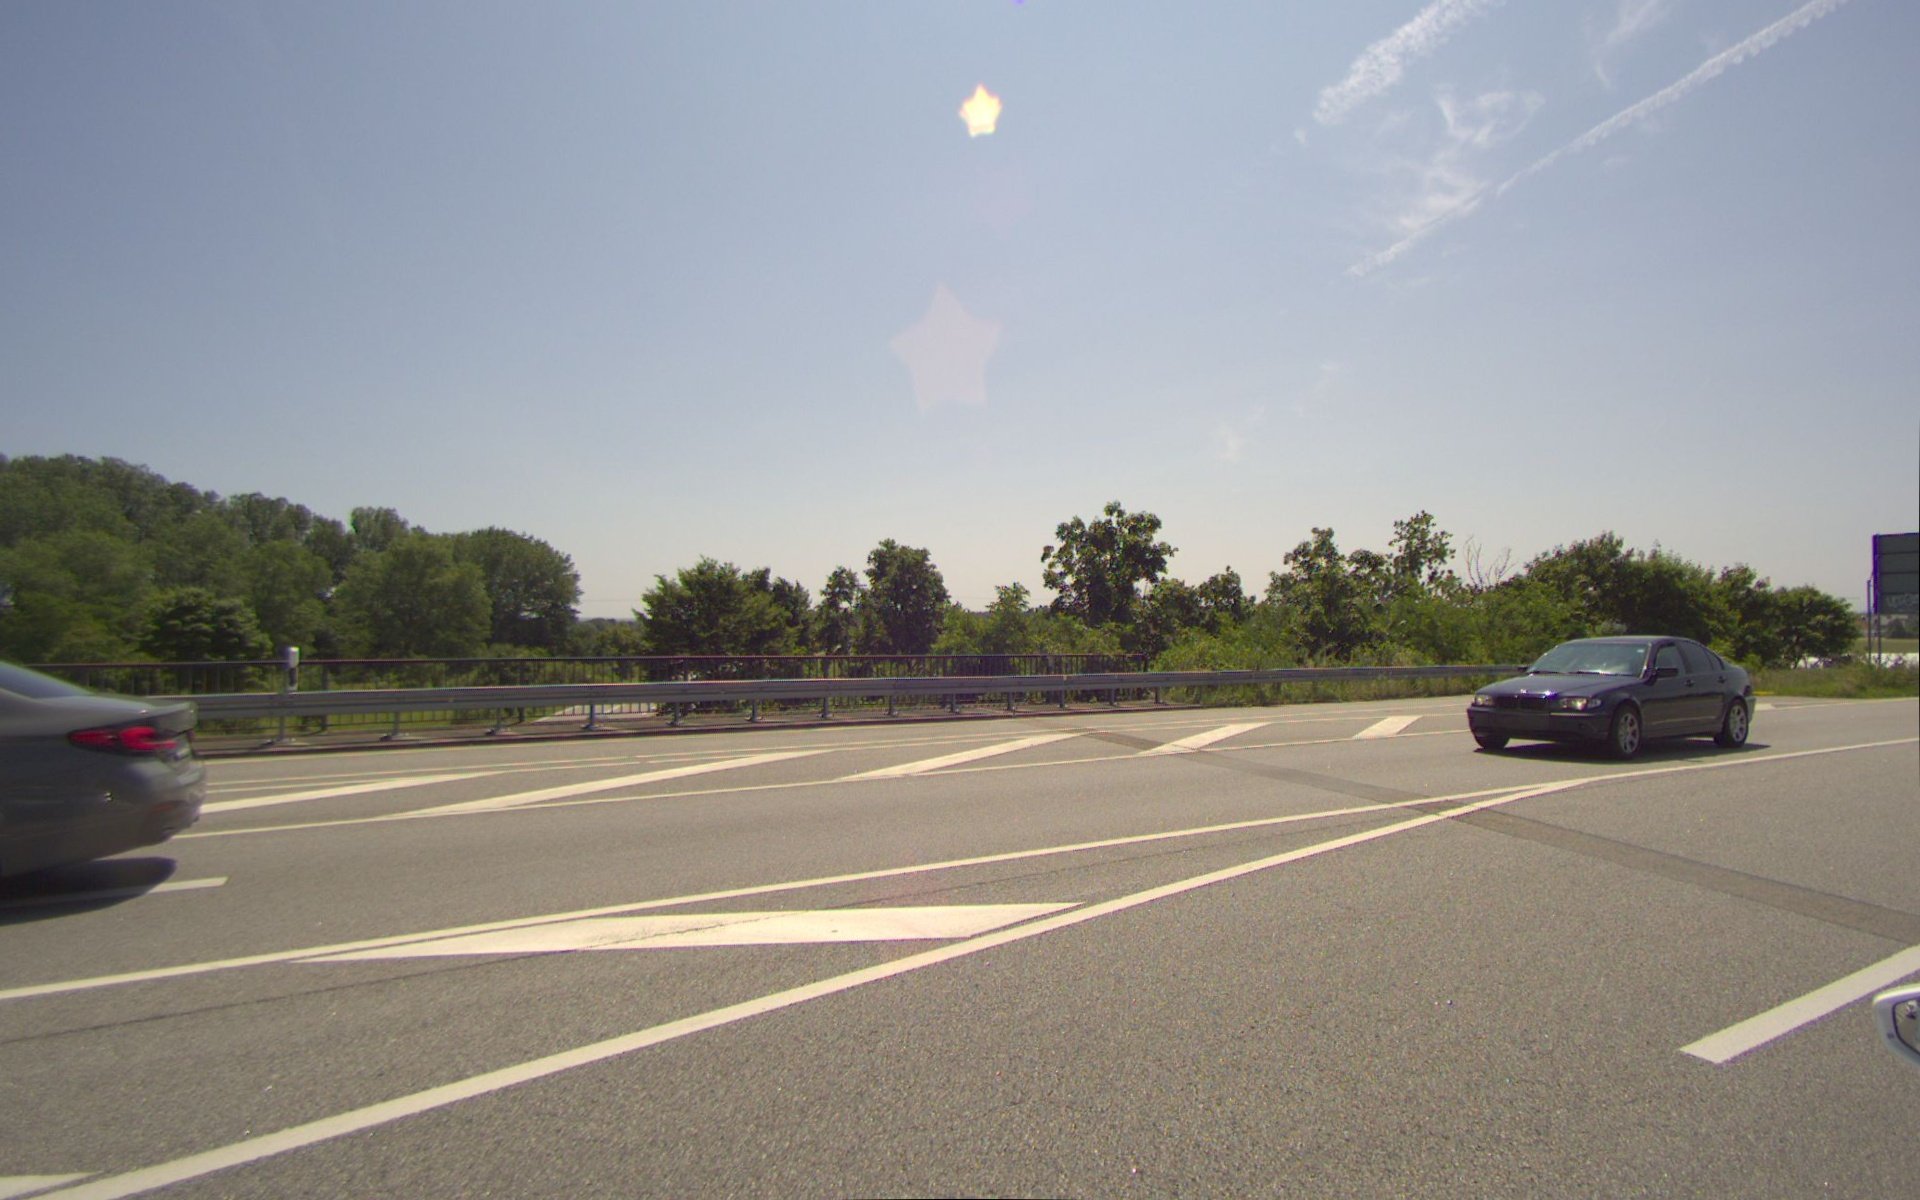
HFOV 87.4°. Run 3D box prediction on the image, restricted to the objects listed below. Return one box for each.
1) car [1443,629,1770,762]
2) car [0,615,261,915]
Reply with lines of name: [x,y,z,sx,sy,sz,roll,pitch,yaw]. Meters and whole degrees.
car: [8.304,1.110,12.824,4.329,1.419,1.727,1,-3,-30]
car: [-6.413,0.829,4.935,4.739,1.472,1.715,1,-3,-31]
